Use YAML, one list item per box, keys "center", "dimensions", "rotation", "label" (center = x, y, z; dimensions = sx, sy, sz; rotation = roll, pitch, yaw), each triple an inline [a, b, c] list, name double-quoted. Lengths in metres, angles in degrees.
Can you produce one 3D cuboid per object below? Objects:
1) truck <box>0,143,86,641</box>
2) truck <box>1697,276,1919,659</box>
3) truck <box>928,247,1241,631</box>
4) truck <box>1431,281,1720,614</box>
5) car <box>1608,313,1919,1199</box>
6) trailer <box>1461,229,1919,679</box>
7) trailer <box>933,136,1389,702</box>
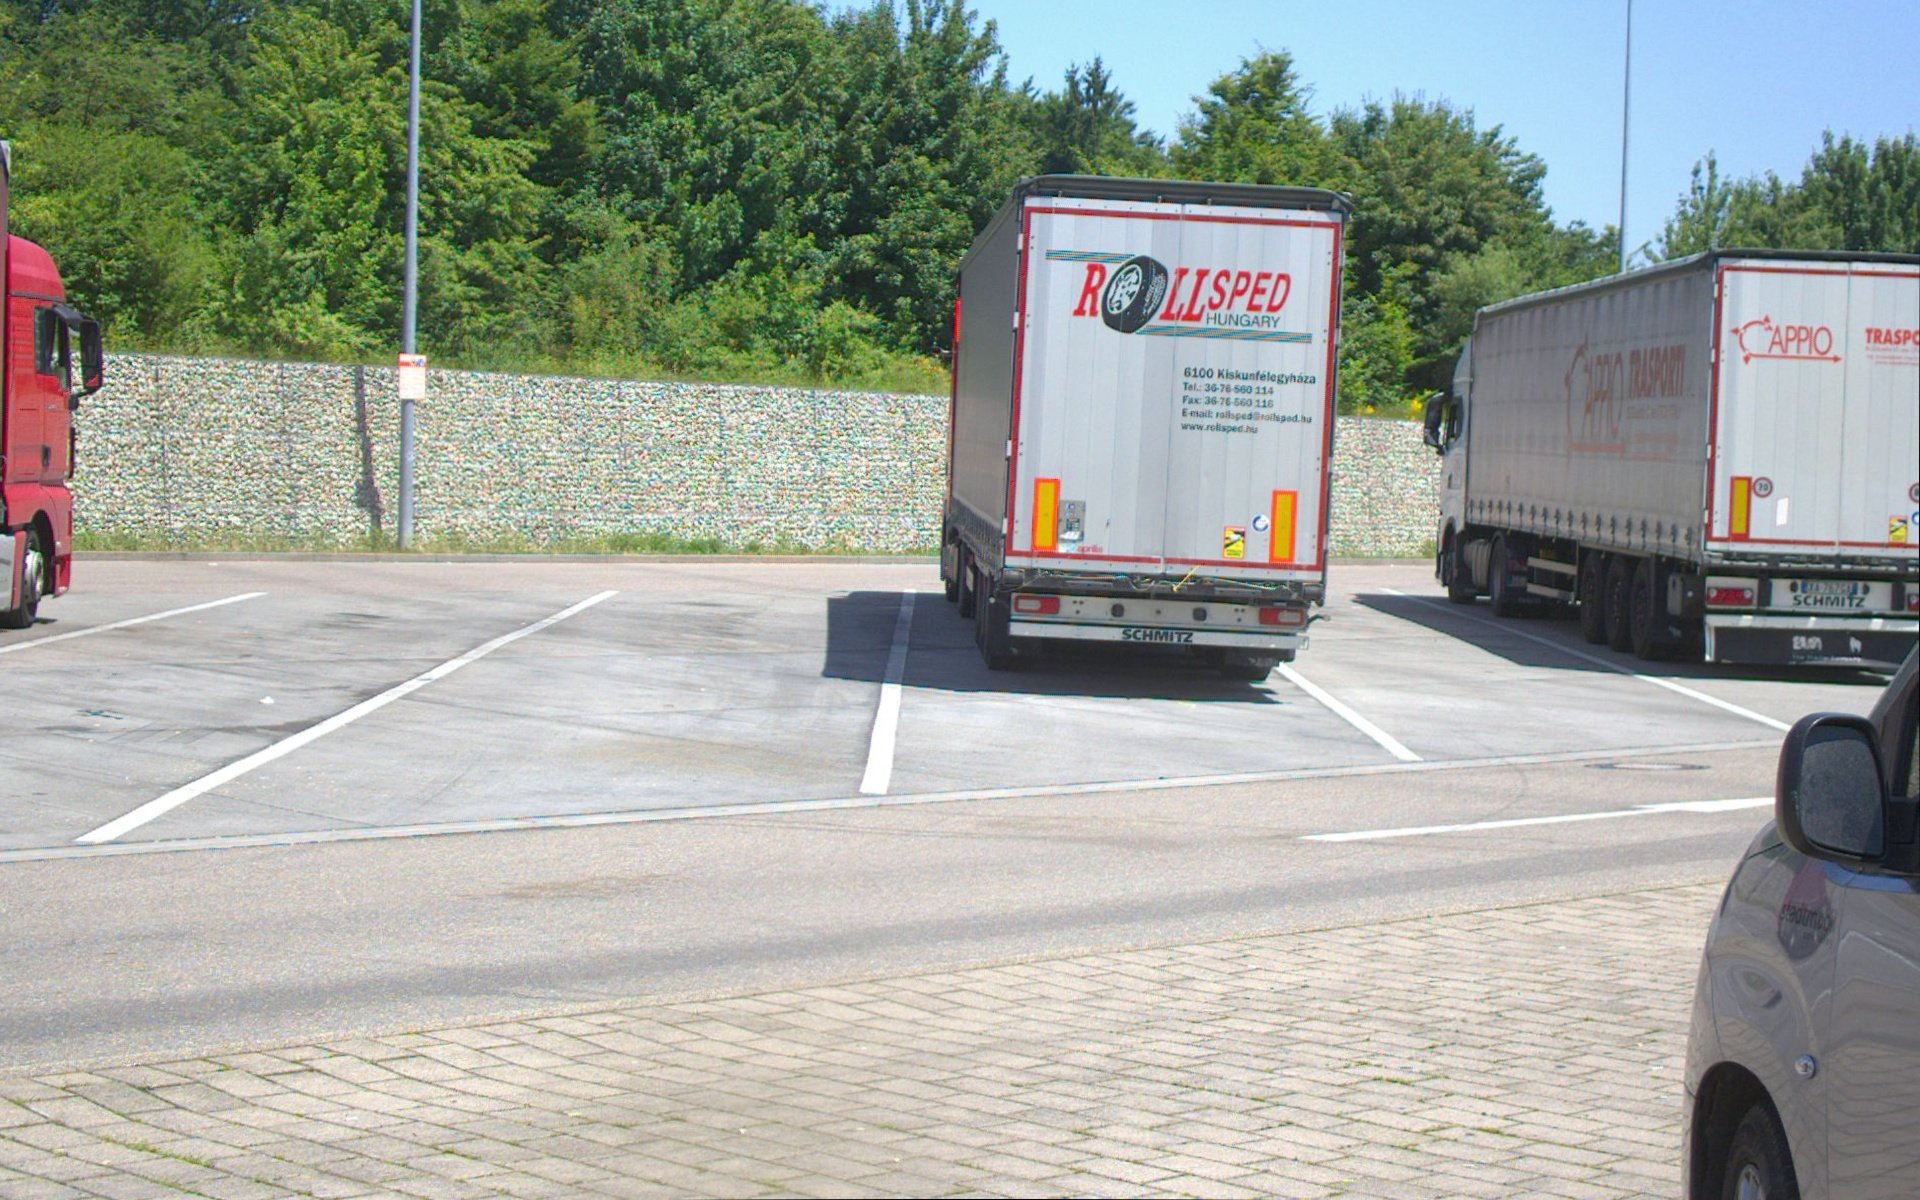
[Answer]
- center: [-9.229, -1.697, 27.661]
  dimensions: [2.743, 4.067, 6.830]
  rotation: [1, 2, -1]
  label: "truck"
- center: [11.731, -1.471, 39.814]
  dimensions: [2.904, 4.110, 14.528]
  rotation: [3, 2, -1]
  label: "truck"
- center: [1.264, -1.851, 39.412]
  dimensions: [3.026, 3.915, 6.847]
  rotation: [2, 3, -2]
  label: "truck"
- center: [8.028, -1.986, 45.477]
  dimensions: [2.757, 4.110, 5.285]
  rotation: [1, 2, -1]
  label: "truck"
- center: [2.140, 0.543, 3.801]
  dimensions: [1.825, 1.747, 4.001]
  rotation: [1, 2, -4]
  label: "car"
- center: [8.142, -1.570, 38.481]
  dimensions: [2.876, 4.110, 13.572]
  rotation: [1, 2, -1]
  label: "trailer"
- center: [1.480, -1.693, 32.644]
  dimensions: [3.069, 4.213, 12.810]
  rotation: [2, 3, -2]
  label: "trailer"
